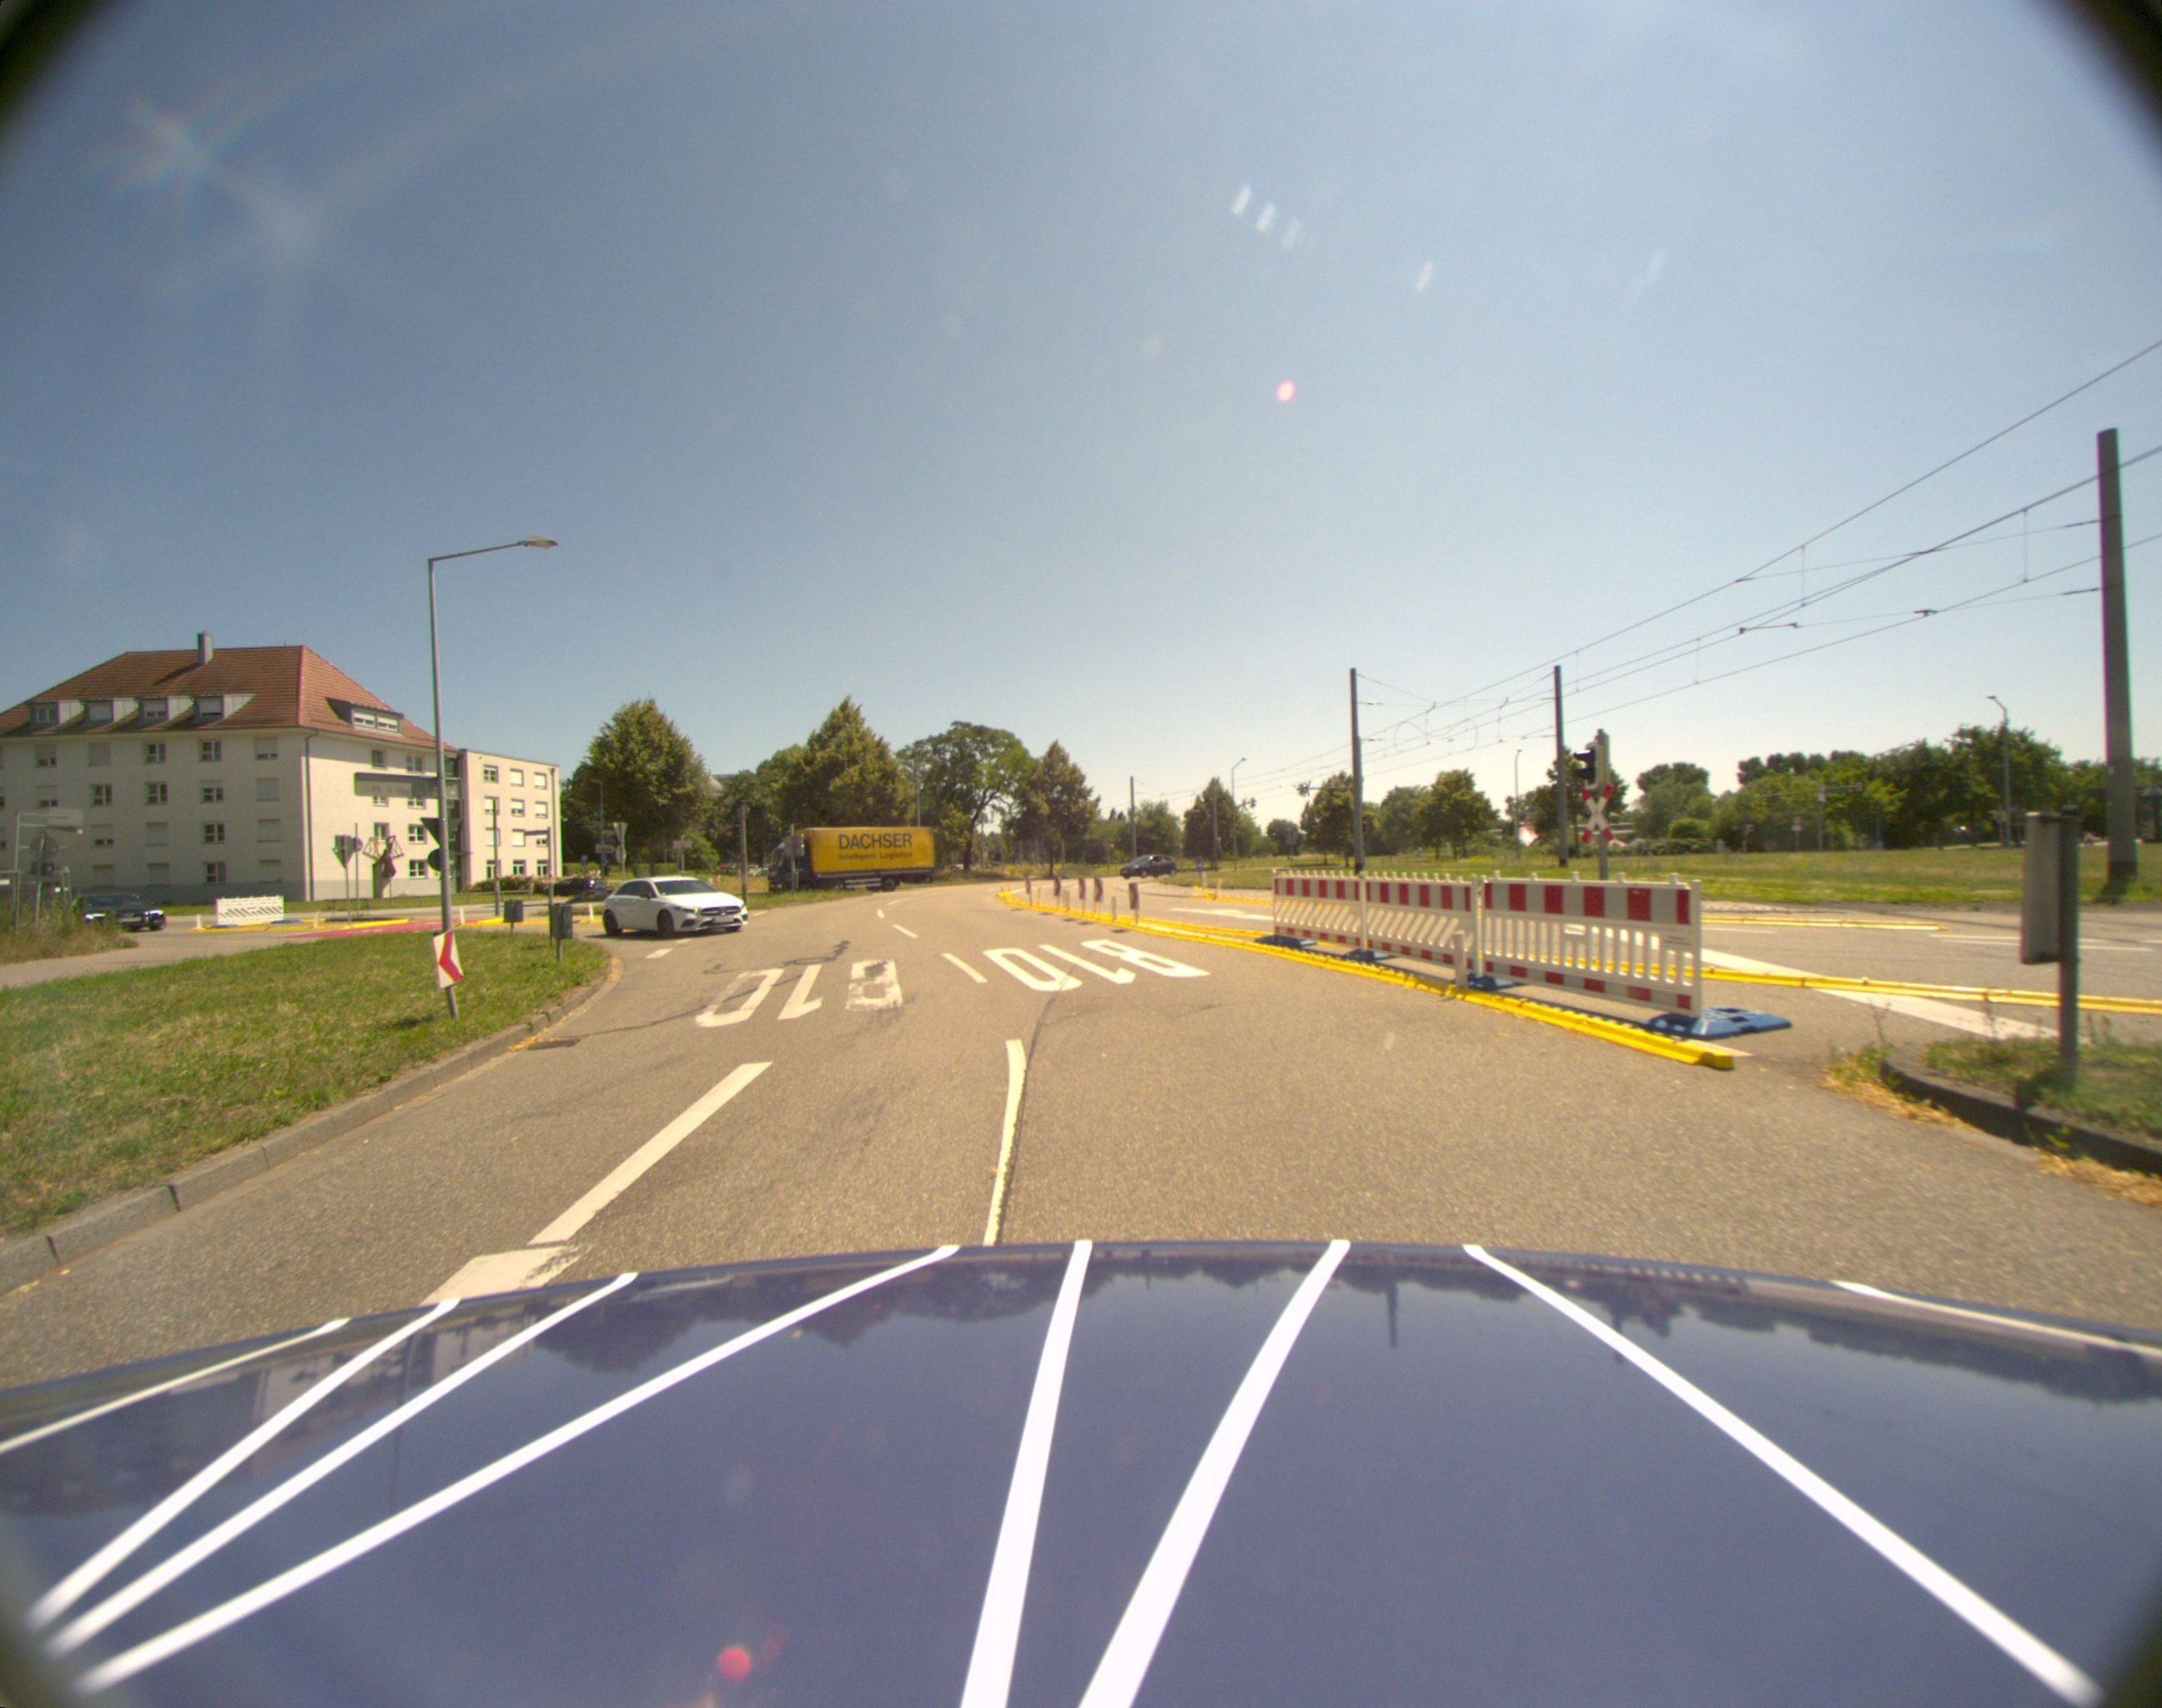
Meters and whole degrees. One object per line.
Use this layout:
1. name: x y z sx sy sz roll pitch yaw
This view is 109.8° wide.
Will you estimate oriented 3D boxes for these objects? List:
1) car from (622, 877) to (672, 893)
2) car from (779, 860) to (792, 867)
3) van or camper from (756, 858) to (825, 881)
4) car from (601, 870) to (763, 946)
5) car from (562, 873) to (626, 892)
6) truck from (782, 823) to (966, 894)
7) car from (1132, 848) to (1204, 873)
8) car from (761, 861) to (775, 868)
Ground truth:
1. car: -36.481 2.630 63.900 3.510 1.210 1.357 -2 0 4
2. car: -59.549 1.948 153.243 1.478 1.408 3.027 -2 0 -1
3. van or camper: -25.622 1.313 67.017 5.268 1.846 2.000 -2 0 3
4. car: -9.746 1.225 18.493 3.952 1.537 1.784 -1 2 34
5. car: -36.971 2.164 57.683 3.804 1.319 1.660 -2 0 4
6. truck: -11.400 0.145 42.786 9.634 3.637 2.700 -2 0 -40
7. car: 5.407 0.397 46.947 4.006 1.410 1.975 -2 1 -32
8. car: -62.729 2.052 152.327 1.478 1.408 3.027 -2 0 -1
